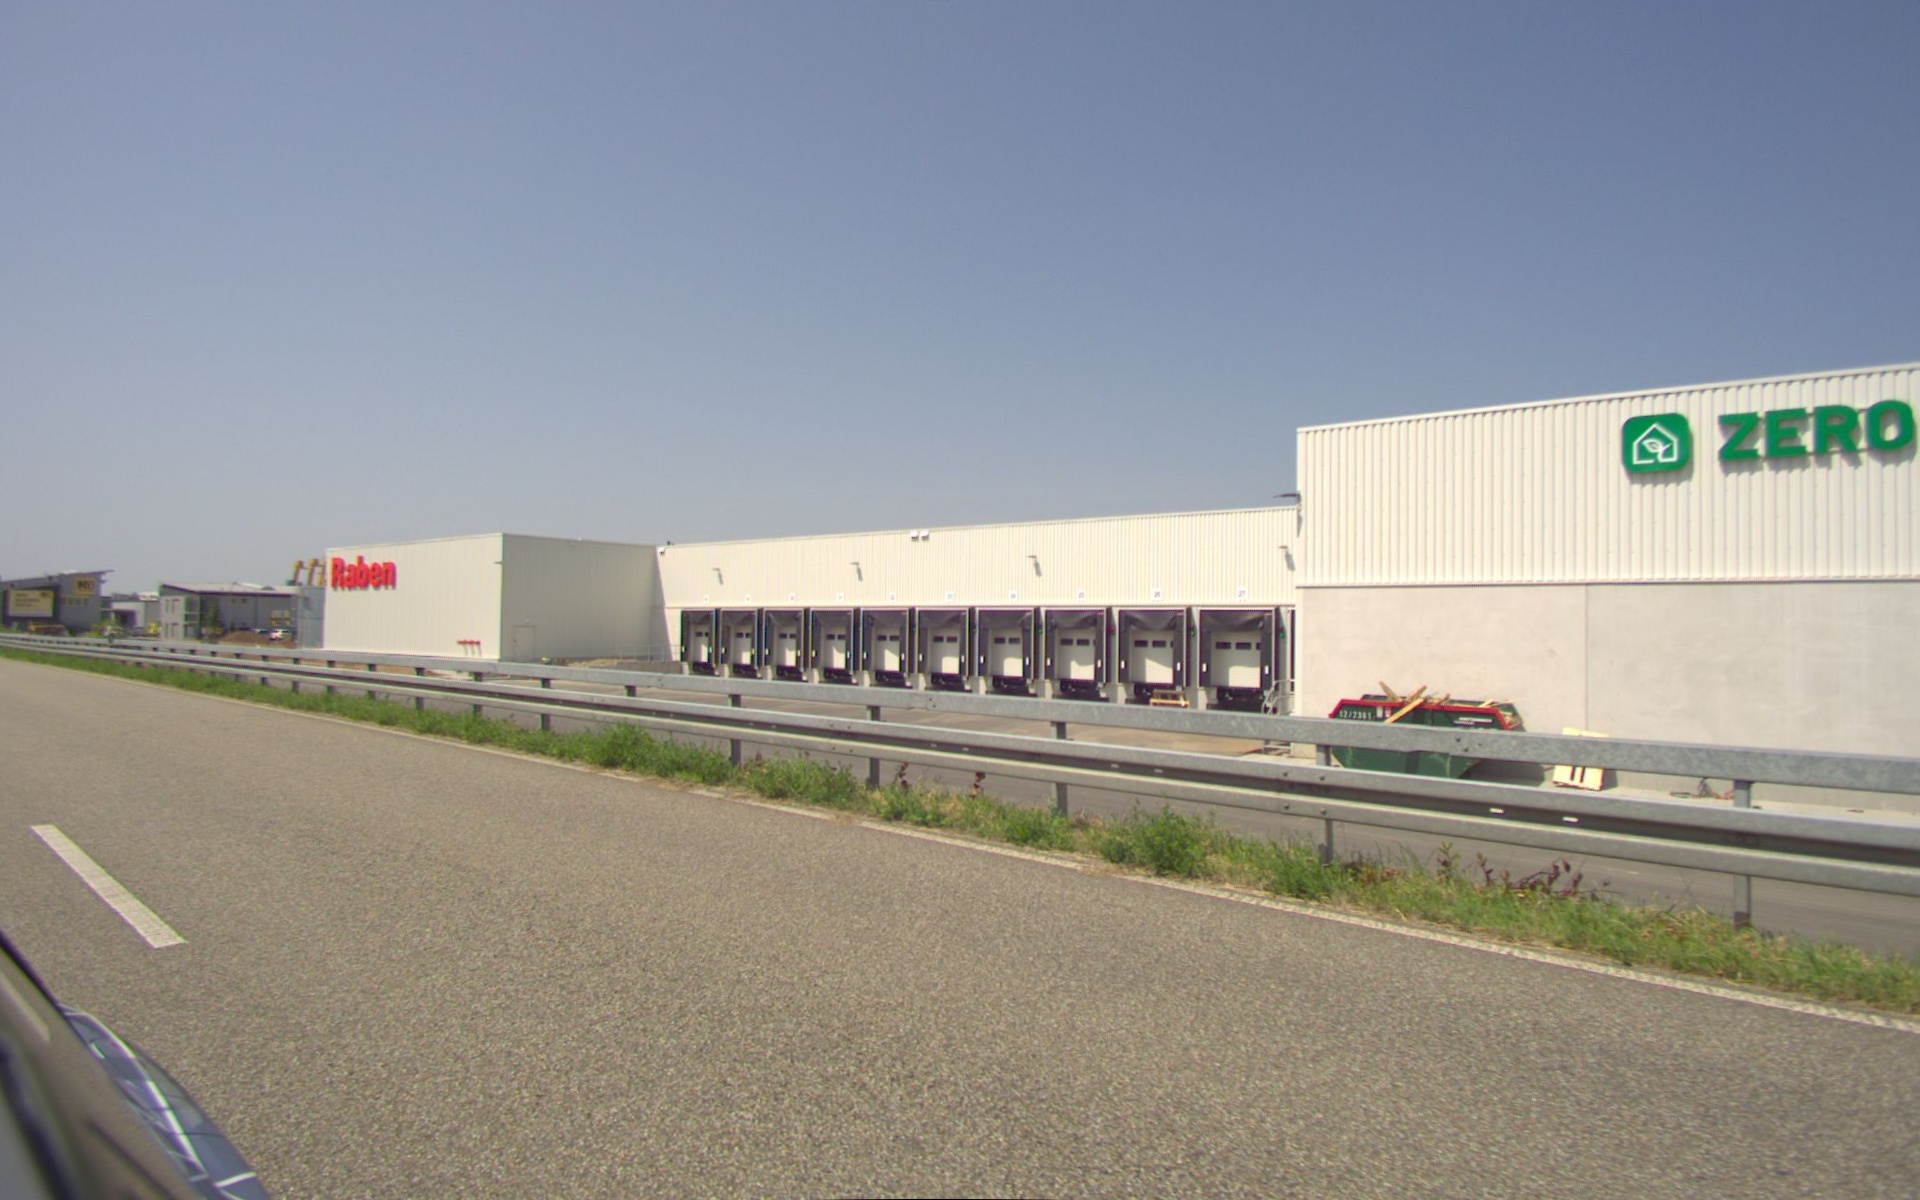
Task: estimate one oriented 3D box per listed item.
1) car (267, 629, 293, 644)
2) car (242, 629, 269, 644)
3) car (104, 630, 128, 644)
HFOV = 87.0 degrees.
[{"bbox_3d":[-93.975,5.017,139.809,3.997,2.029,1.973,-1,-2,40],"label":"car"},{"bbox_3d":[-95.745,4.962,137.580,3.997,2.029,1.973,-1,-2,40],"label":"car"},{"bbox_3d":[-105.090,4.599,126.037,3.306,1.686,1.537,-1,-3,36],"label":"car"}]
